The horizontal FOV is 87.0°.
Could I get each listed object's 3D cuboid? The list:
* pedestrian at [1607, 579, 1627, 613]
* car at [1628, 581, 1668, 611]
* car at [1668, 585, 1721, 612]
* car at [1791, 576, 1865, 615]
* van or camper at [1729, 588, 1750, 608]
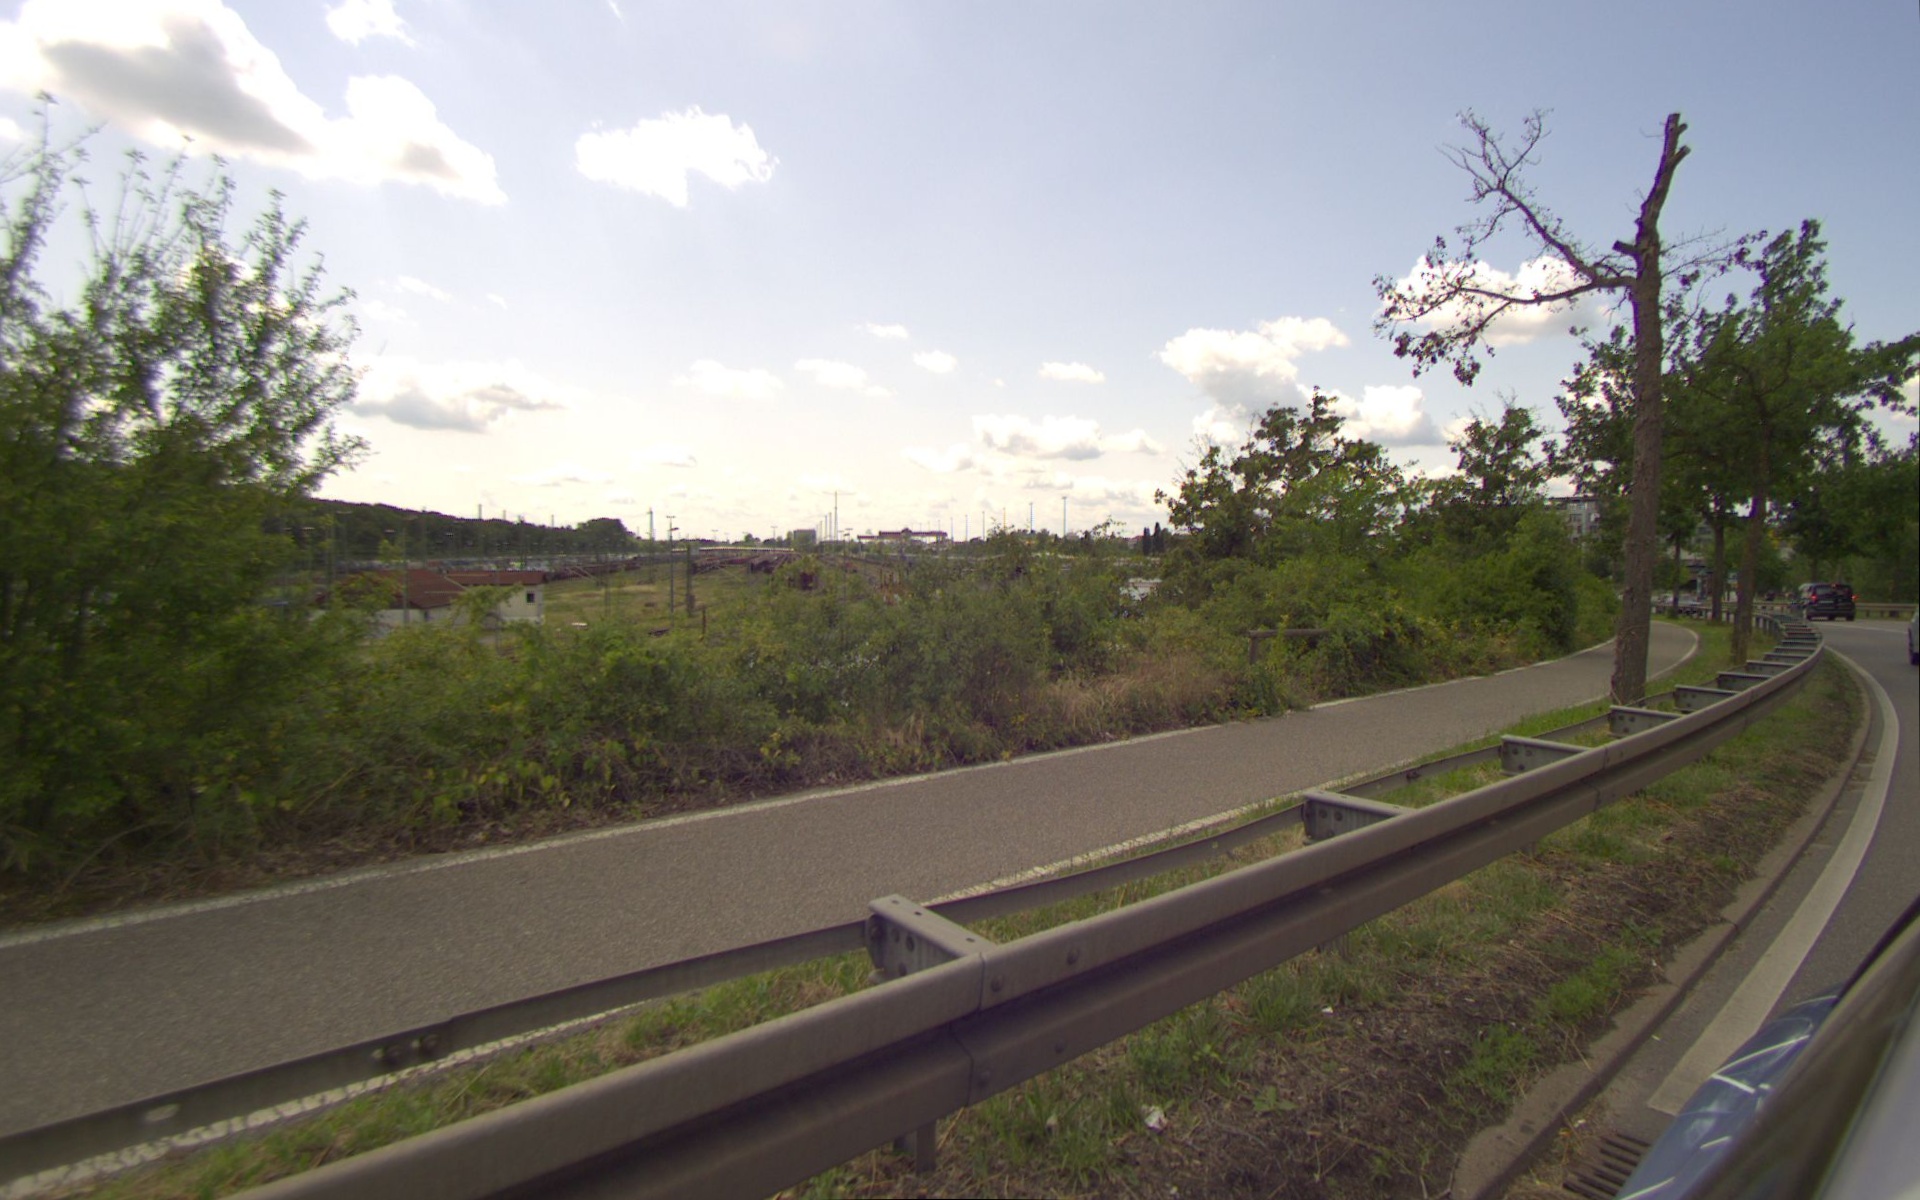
[{"bbox_3d":[33.225,-0.205,51.166,0.653,1.662,1.045,2,1,27],"label":"pedestrian"},{"bbox_3d":[52.410,-0.341,77.175,1.983,2.037,3.960,5,4,29],"label":"car"},{"bbox_3d":[43.427,-0.125,59.890,1.831,1.222,3.965,4,5,26],"label":"car"},{"bbox_3d":[41.299,-0.236,48.257,1.843,1.730,4.267,2,2,30],"label":"car"},{"bbox_3d":[113.847,-0.320,147.743,1.992,2.613,5.894,7,3,40],"label":"van or camper"}]
